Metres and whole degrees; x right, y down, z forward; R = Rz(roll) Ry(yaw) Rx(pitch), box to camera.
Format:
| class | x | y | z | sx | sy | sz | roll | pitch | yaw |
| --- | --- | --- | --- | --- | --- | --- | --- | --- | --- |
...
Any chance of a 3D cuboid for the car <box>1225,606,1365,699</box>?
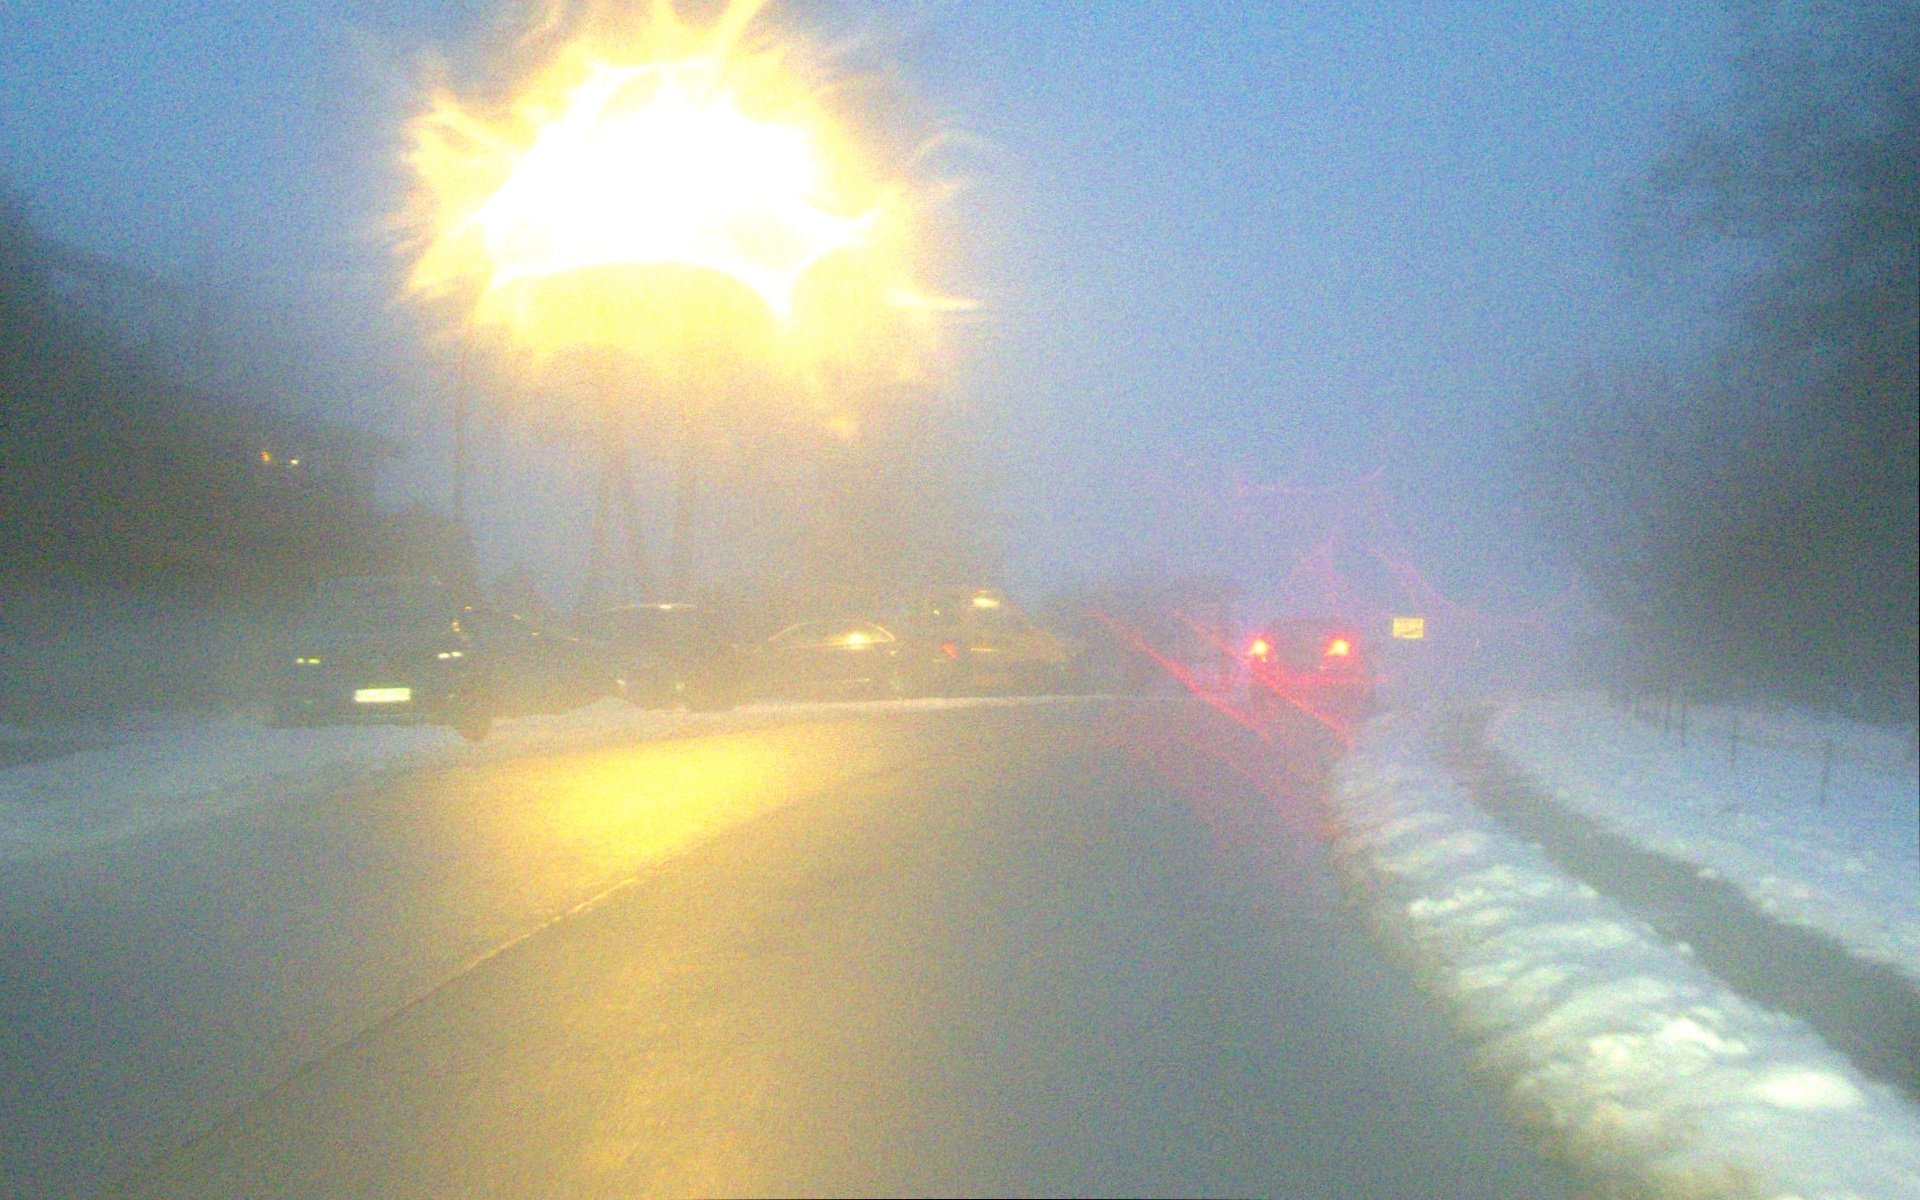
| class | x | y | z | sx | sy | sz | roll | pitch | yaw |
| --- | --- | --- | --- | --- | --- | --- | --- | --- | --- |
| car | 5.503 | 0.847 | 56.114 | 1.994 | 1.415 | 3.998 | 1 | -1 | 10 |

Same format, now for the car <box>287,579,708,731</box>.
| class | x | y | z | sx | sy | sz | roll | pitch | yaw |
| --- | --- | --- | --- | --- | --- | --- | --- | --- | --- |
| car | -5.256 | 0.630 | 39.537 | 4.527 | 1.561 | 2.111 | -2 | -1 | 0 |

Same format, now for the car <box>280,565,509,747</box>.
| class | x | y | z | sx | sy | sz | roll | pitch | yaw |
| --- | --- | --- | --- | --- | --- | --- | --- | --- | --- |
| car | -5.574 | 0.566 | 33.769 | 1.993 | 1.561 | 4.998 | -3 | -1 | -10 |

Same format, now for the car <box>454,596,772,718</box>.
| class | x | y | z | sx | sy | sz | roll | pitch | yaw |
| --- | --- | --- | --- | --- | --- | --- | --- | --- | --- |
| car | -4.537 | 0.749 | 45.316 | 3.854 | 1.466 | 1.938 | -2 | -1 | 4 |

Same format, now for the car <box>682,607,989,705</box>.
| class | x | y | z | sx | sy | sz | roll | pitch | yaw |
| --- | --- | --- | --- | --- | --- | --- | --- | --- | --- |
| car | -2.082 | 0.959 | 58.433 | 4.888 | 1.480 | 2.122 | -2 | -1 | 8 |

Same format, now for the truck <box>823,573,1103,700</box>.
| class | x | y | z | sx | sy | sz | roll | pitch | yaw |
| --- | --- | --- | --- | --- | --- | --- | --- | --- | --- |
| truck | 0.088 | 0.721 | 68.010 | 5.262 | 2.295 | 1.999 | -2 | -1 | 7 |
